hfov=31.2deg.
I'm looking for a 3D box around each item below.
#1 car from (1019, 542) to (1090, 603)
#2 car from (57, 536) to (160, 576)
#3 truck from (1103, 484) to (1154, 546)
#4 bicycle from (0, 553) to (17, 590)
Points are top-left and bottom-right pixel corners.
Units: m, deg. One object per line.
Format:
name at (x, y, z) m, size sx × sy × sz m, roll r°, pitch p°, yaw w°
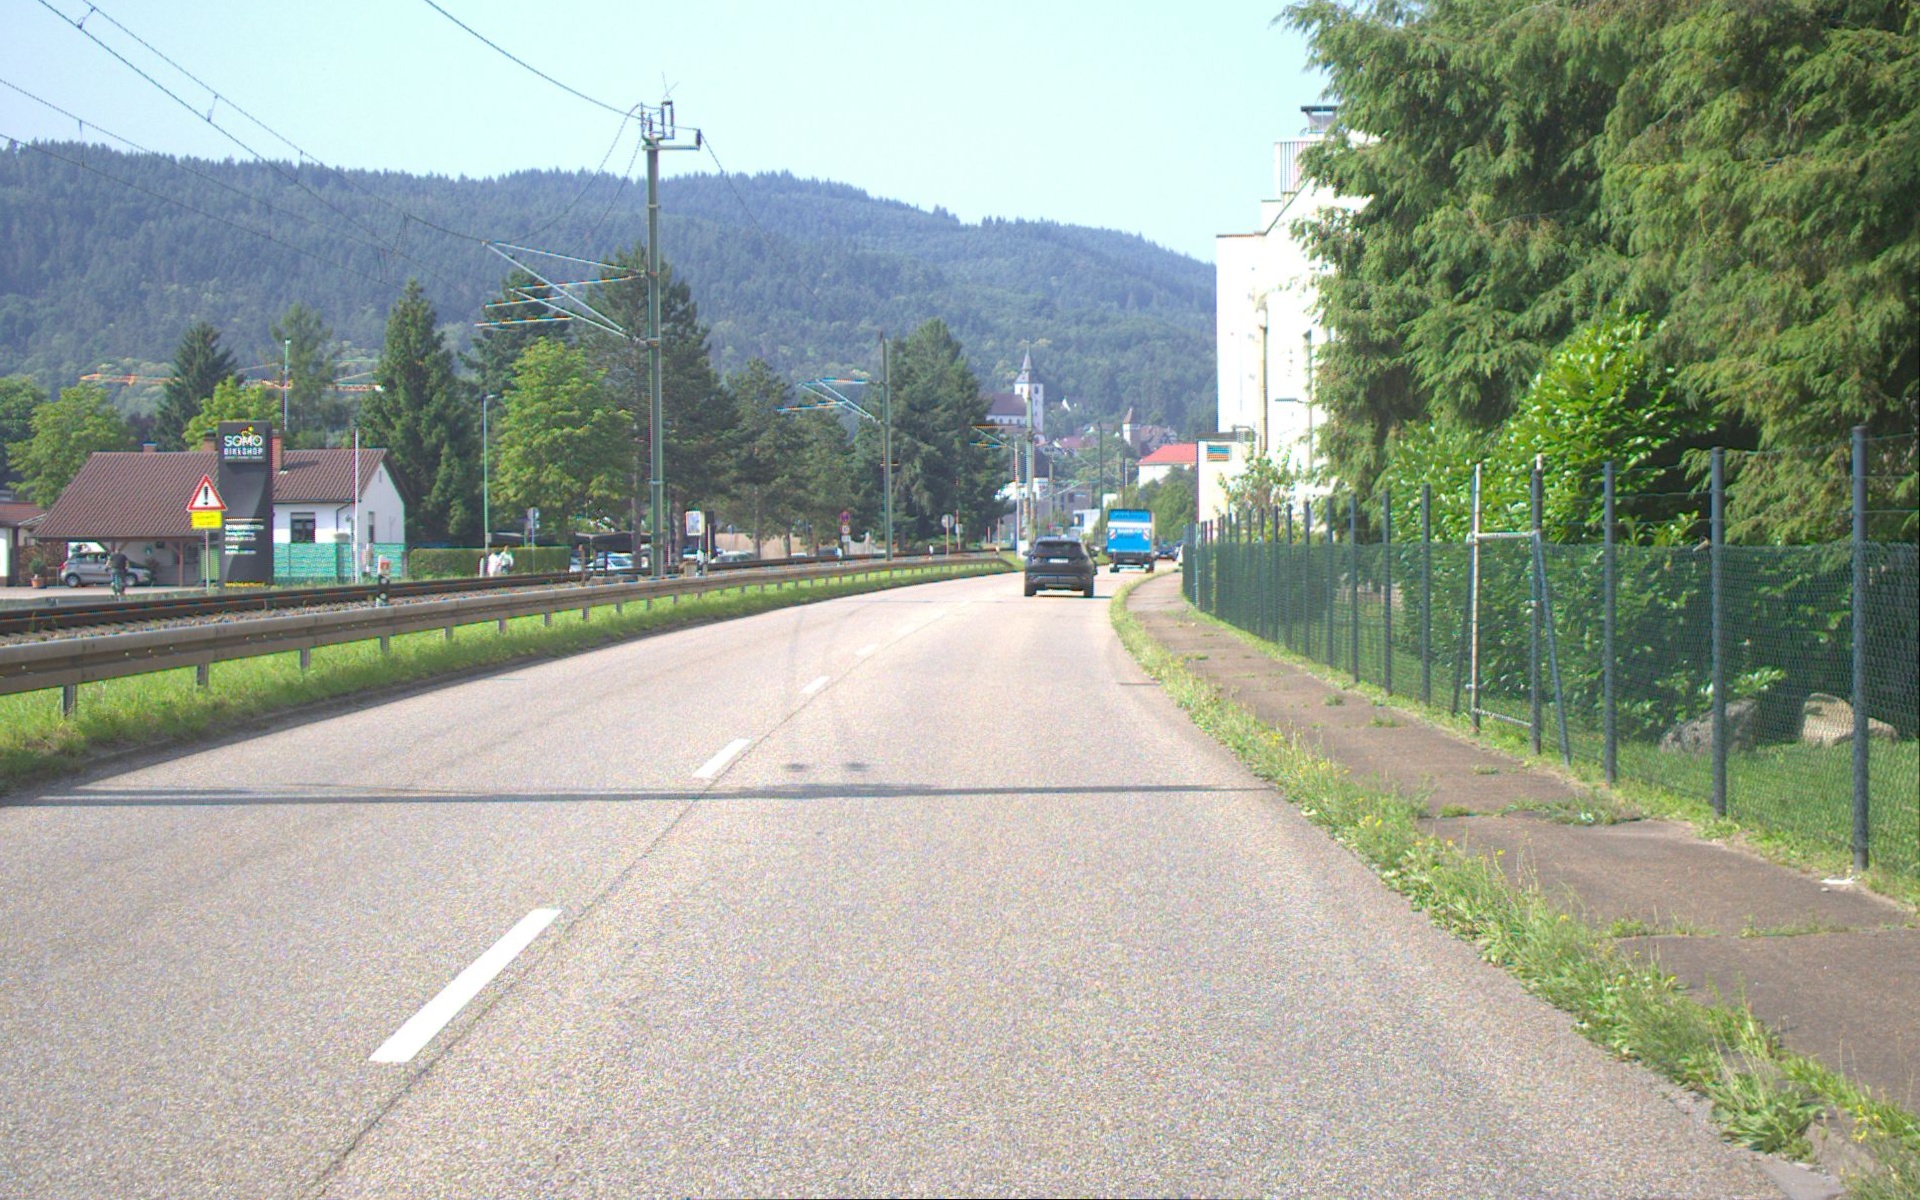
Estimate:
car at (2.629, -0.776, 94.809) m, size 1.919 × 1.634 × 4.000 m, roll 0°, pitch 1°, yaw 2°
car at (-35.947, -1.847, 145.163) m, size 3.836 × 1.645 × 1.712 m, roll -1°, pitch 1°, yaw 5°
truck at (8.260, -4.122, 167.763) m, size 2.313 × 2.960 × 5.965 m, roll 0°, pitch 1°, yaw 4°
bicycle at (-29.797, -0.859, 104.397) m, size 2.167 × 1.126 × 0.730 m, roll -1°, pitch 0°, yaw -7°
